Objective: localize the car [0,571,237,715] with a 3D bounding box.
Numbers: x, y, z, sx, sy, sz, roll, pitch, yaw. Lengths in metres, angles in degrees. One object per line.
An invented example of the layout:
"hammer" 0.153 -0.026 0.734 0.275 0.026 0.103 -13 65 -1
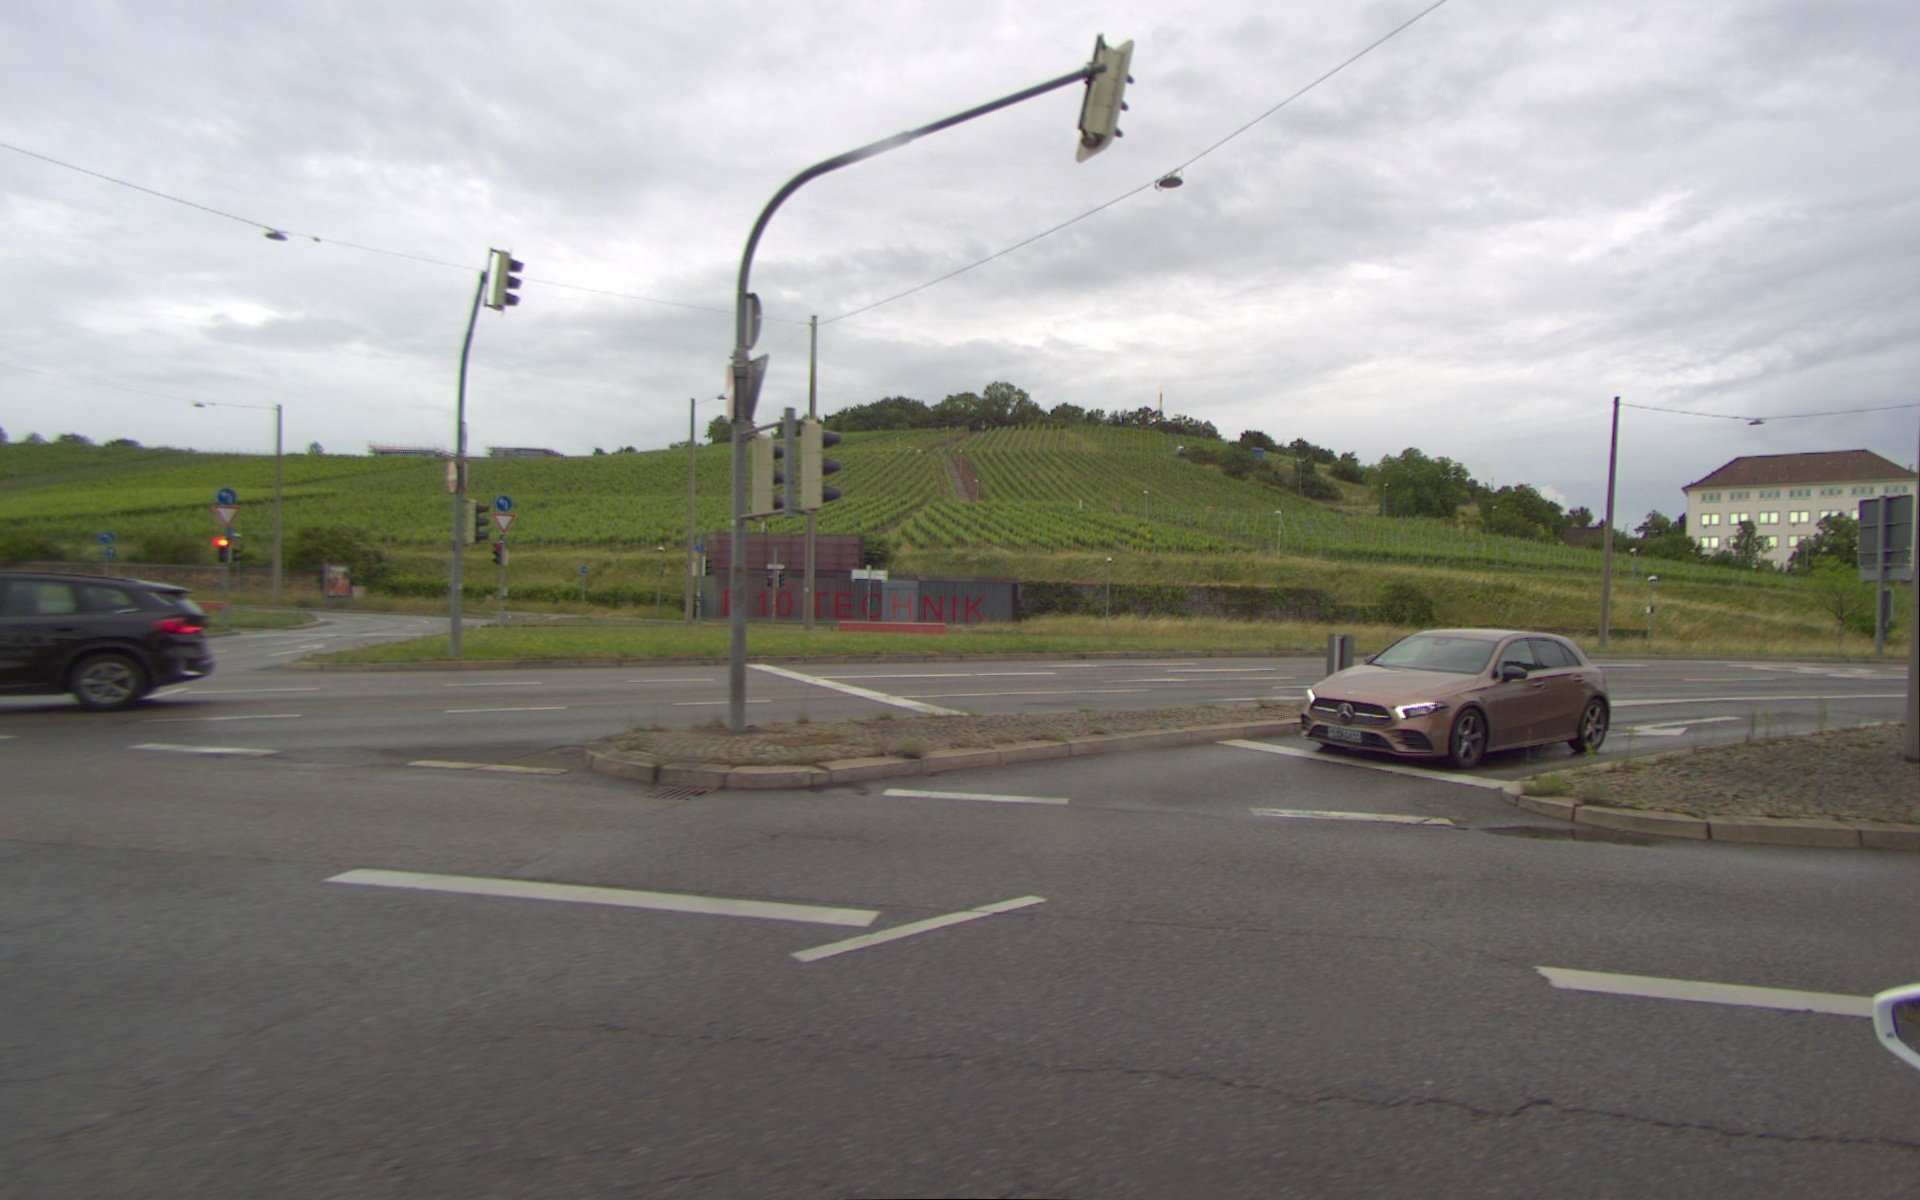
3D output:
"car" -11.330 0.464 11.962 4.295 1.617 1.723 1 1 -33

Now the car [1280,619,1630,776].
"car" 5.877 1.011 11.761 4.295 1.481 1.723 1 1 -33
